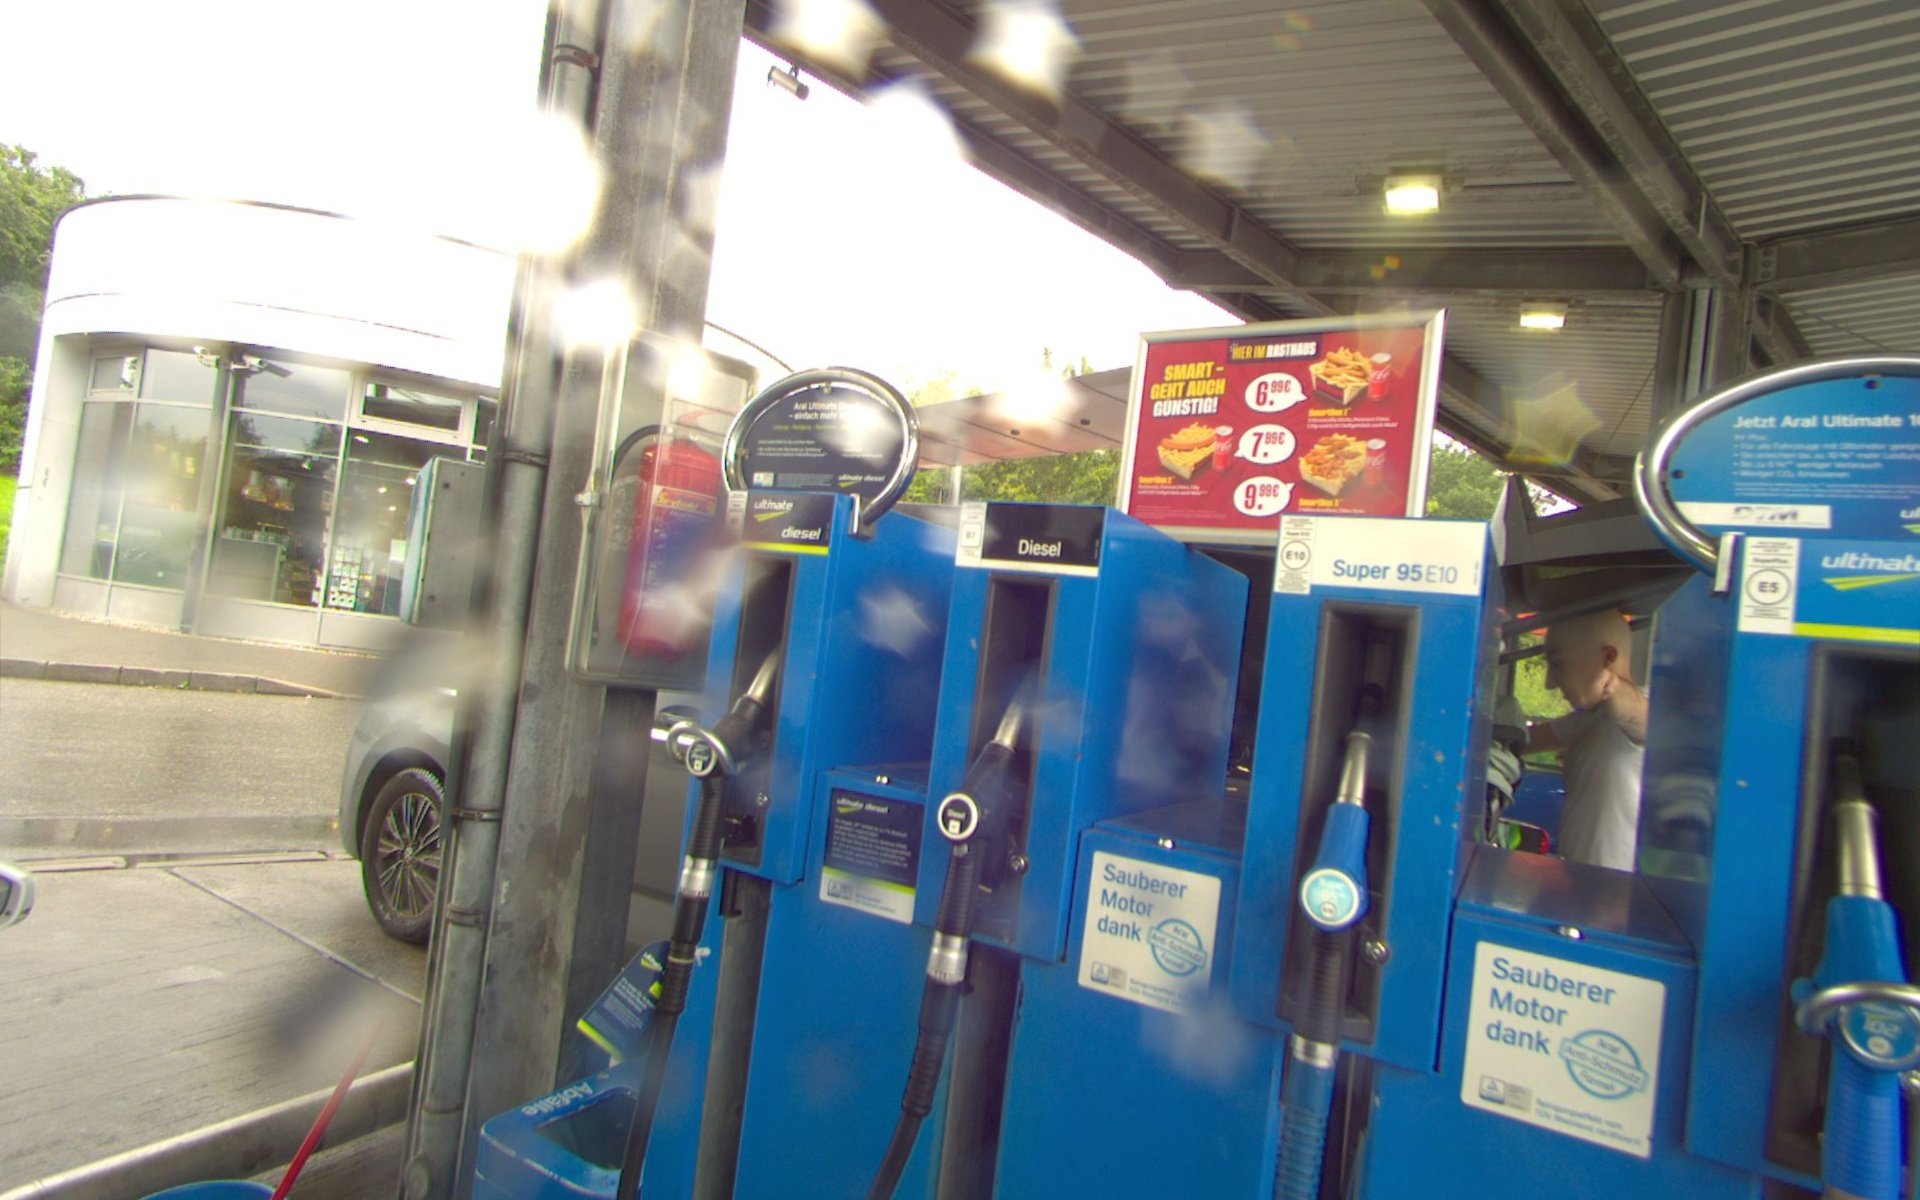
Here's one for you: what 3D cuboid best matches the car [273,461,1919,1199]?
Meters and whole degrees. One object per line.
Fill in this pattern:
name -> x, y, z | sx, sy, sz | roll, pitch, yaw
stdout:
car -> -0.147, 0.644, 3.674 | 5.055, 1.819, 1.865 | 6, -2, 32
